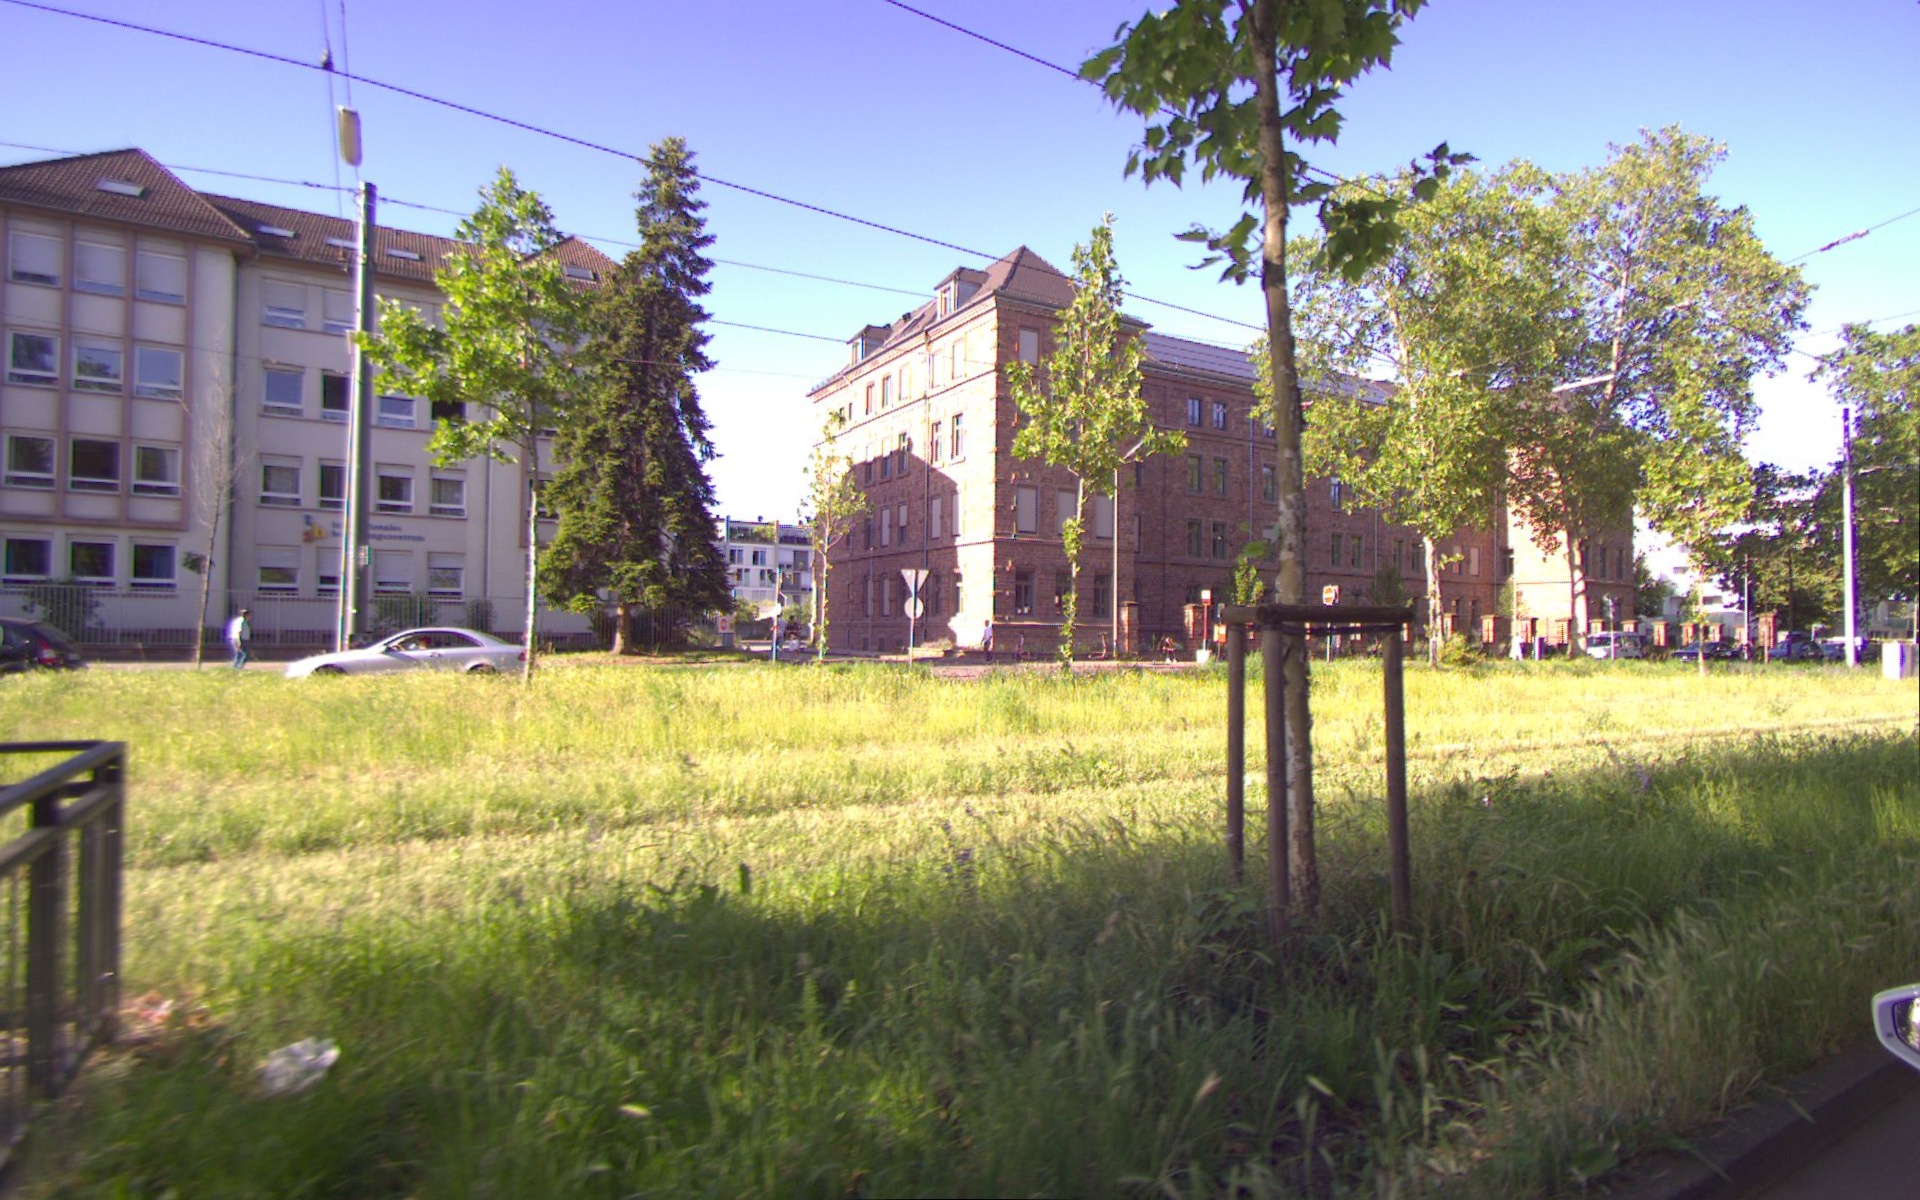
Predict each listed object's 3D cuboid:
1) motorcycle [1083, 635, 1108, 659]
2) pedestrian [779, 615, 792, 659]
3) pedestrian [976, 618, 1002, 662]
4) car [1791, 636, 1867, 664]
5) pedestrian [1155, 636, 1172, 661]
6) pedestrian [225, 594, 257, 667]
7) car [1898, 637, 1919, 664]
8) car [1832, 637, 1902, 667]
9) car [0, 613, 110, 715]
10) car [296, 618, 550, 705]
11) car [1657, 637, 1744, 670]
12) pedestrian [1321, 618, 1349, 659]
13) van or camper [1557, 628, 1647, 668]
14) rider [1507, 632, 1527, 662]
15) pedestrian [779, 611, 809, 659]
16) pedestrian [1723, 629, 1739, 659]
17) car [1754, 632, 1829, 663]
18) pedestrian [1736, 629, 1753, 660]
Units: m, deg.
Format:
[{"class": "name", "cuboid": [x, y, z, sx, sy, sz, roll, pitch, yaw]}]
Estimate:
[{"class": "motorcycle", "cuboid": [5.672, 1.964, 42.046, 1.034, 0.959, 0.332, 2, -1, -34]}, {"class": "pedestrian", "cuboid": [-6.926, 1.470, 39.868, 0.443, 1.718, 0.374, 1, -1, -23]}, {"class": "pedestrian", "cuboid": [1.151, 1.584, 40.229, 0.670, 1.718, 0.882, 0, -1, 32]}, {"class": "car", "cuboid": [53.221, 3.063, 61.506, 4.362, 1.636, 1.987, 1, -1, -26]}, {"class": "pedestrian", "cuboid": [8.994, 2.138, 44.386, 0.582, 1.114, 0.441, 1, -1, -34]}, {"class": "pedestrian", "cuboid": [-18.442, 0.778, 25.779, 0.566, 1.861, 0.689, 1, -1, -30]}, {"class": "car", "cuboid": [67.512, 3.534, 69.929, 4.684, 1.833, 2.098, 2, -2, -31]}, {"class": "car", "cuboid": [58.012, 3.323, 64.218, 4.684, 1.833, 2.098, 2, -2, -31]}, {"class": "car", "cuboid": [-17.686, 1.074, 17.400, 4.095, 1.729, 1.987, 2, -1, -27]}, {"class": "car", "cuboid": [-10.861, 1.233, 20.685, 4.413, 1.644, 1.761, 2, -1, -24]}, {"class": "car", "cuboid": [39.428, 2.803, 53.484, 4.769, 1.671, 1.985, 1, -1, -30]}, {"class": "pedestrian", "cuboid": [18.118, 1.863, 48.569, 0.930, 1.924, 0.897, 1, -1, -29]}, {"class": "van or camper", "cuboid": [30.814, 2.289, 48.179, 4.384, 1.811, 1.983, 2, -2, -32]}, {"class": "rider", "cuboid": [31.421, 2.648, 56.676, 0.678, 1.666, 0.725, 1, -2, -29]}, {"class": "pedestrian", "cuboid": [-6.091, 1.283, 36.806, 0.672, 1.718, 0.820, 0, -1, 41]}, {"class": "pedestrian", "cuboid": [52.752, 3.035, 68.717, 0.618, 2.040, 0.711, 1, -1, -29]}, {"class": "car", "cuboid": [48.583, 2.746, 58.690, 4.362, 1.742, 1.763, 1, -1, -26]}, {"class": "pedestrian", "cuboid": [53.122, 3.008, 68.040, 0.618, 2.040, 0.711, 1, -1, -29]}]
